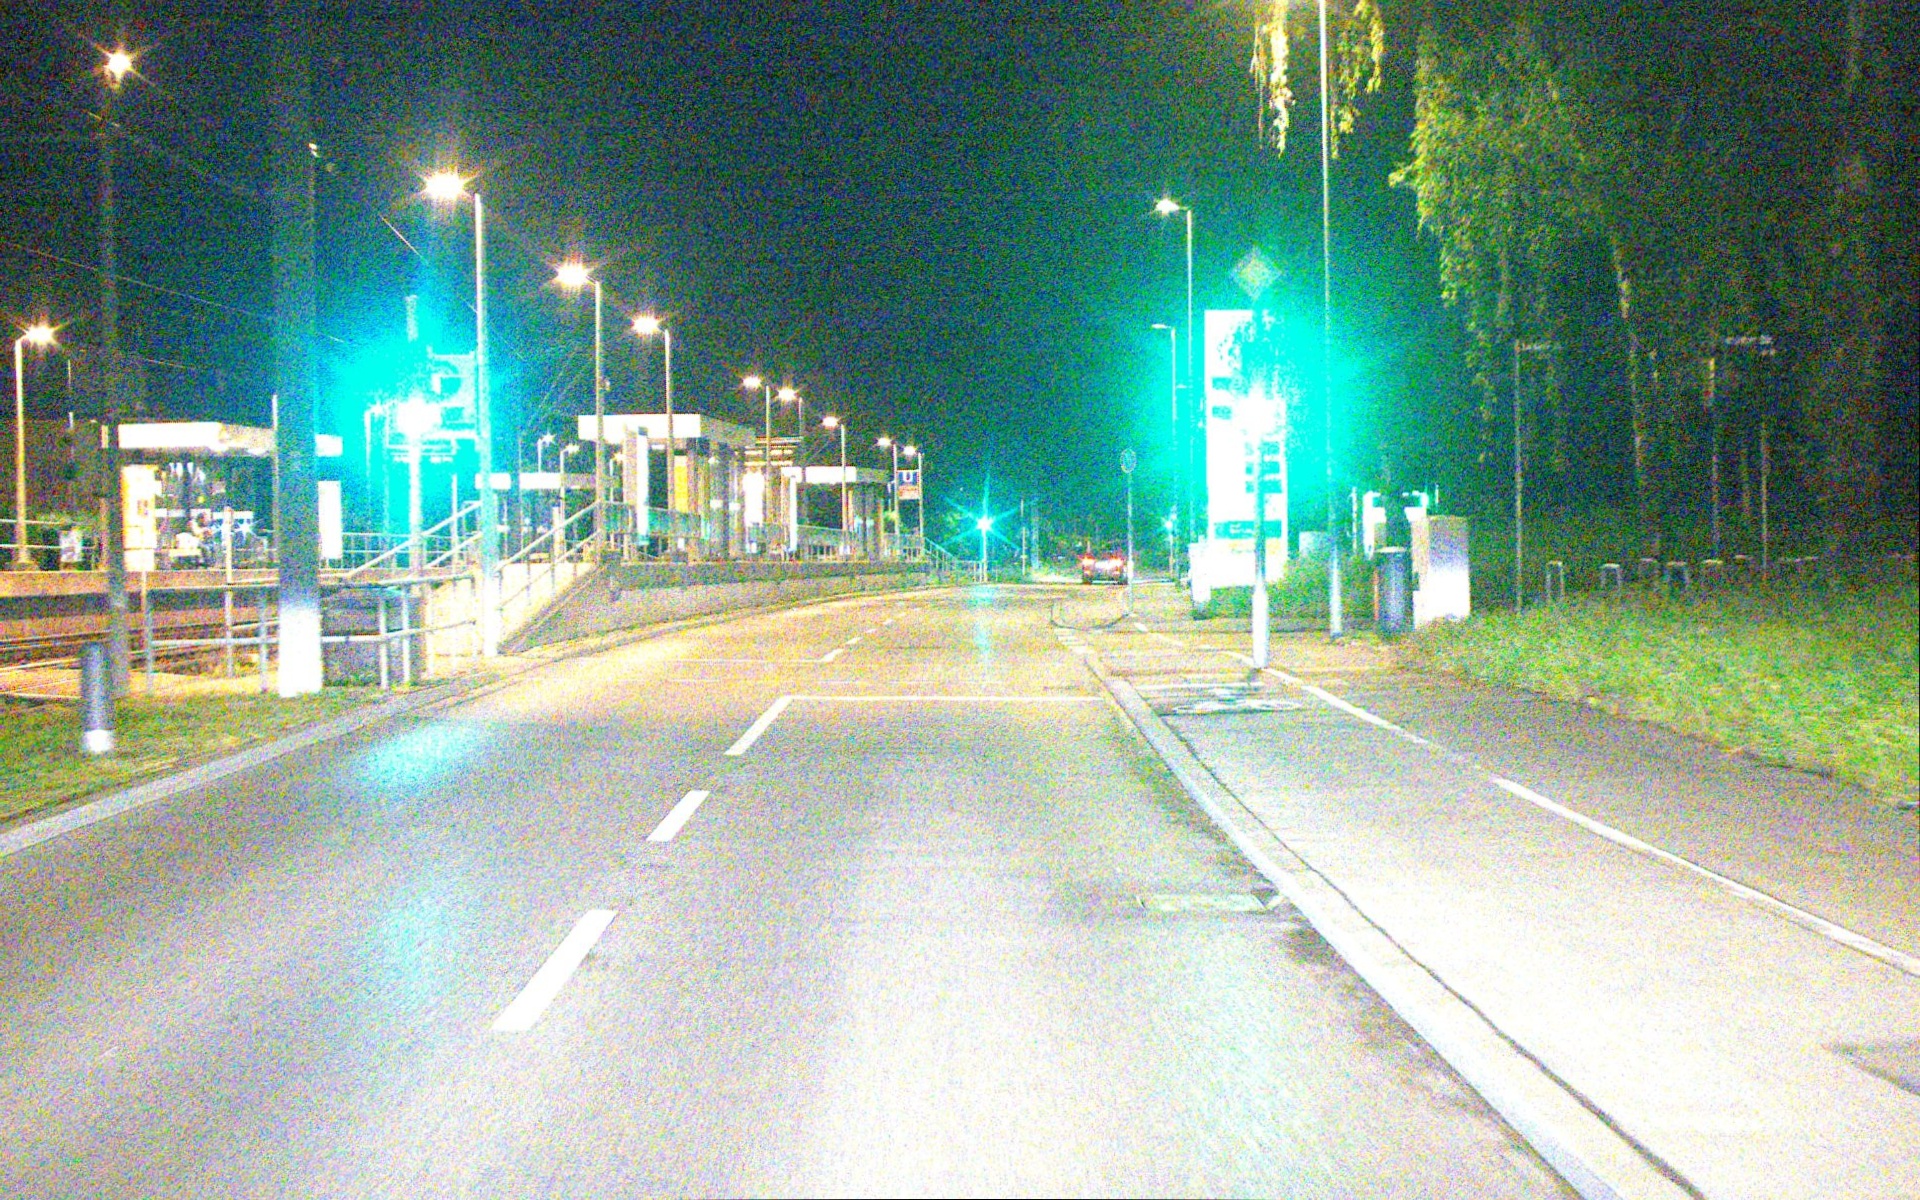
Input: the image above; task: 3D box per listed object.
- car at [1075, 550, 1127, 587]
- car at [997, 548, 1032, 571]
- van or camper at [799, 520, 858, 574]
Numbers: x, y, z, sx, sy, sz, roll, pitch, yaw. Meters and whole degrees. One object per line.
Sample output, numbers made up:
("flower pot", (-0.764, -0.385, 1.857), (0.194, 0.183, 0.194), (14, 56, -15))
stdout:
("car", (6.268, -1.412, 152.471), (2.162, 1.577, 4.013), (1, 1, 4))
("car", (3.971, -2.970, 249.831), (1.994, 1.622, 4.676), (0, 1, 8))
("van or camper", (-6.679, -2.710, 175.003), (2.273, 2.638, 5.663), (-2, 1, 5))
